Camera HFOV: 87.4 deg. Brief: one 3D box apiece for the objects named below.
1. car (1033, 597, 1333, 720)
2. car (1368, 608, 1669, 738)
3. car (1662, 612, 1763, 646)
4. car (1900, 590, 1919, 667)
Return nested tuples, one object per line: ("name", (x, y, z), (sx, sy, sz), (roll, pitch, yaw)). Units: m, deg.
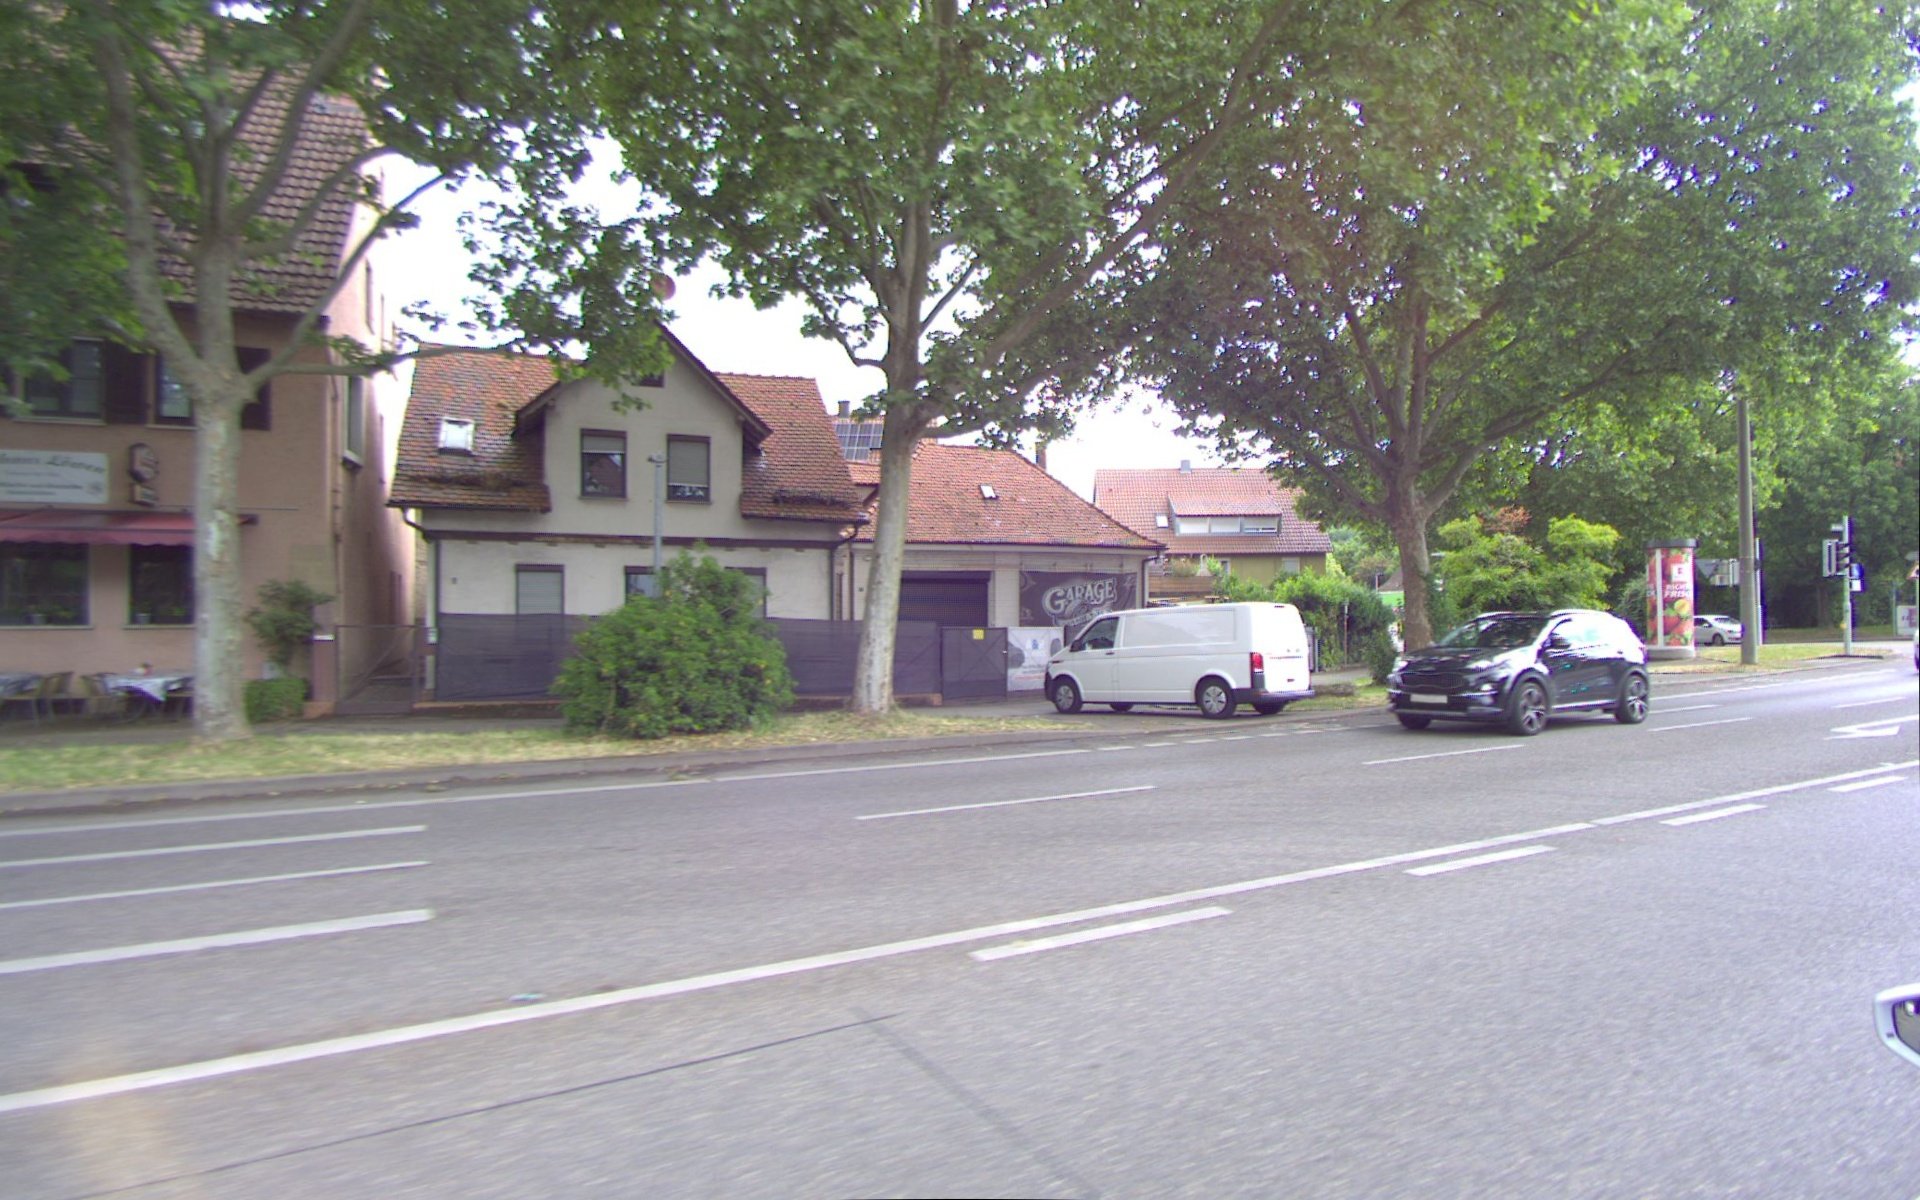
("car", (3.938, 1.096, 18.612), (2.069, 1.956, 5.180), (1, -4, -42))
("car", (8.045, 0.971, 14.383), (4.364, 1.607, 1.788), (0, -4, -31))
("car", (35.186, 1.360, 47.114), (1.790, 1.499, 3.855), (-1, -1, -1))
("car", (24.618, 0.629, 23.970), (4.695, 1.787, 1.902), (0, -1, -30))
